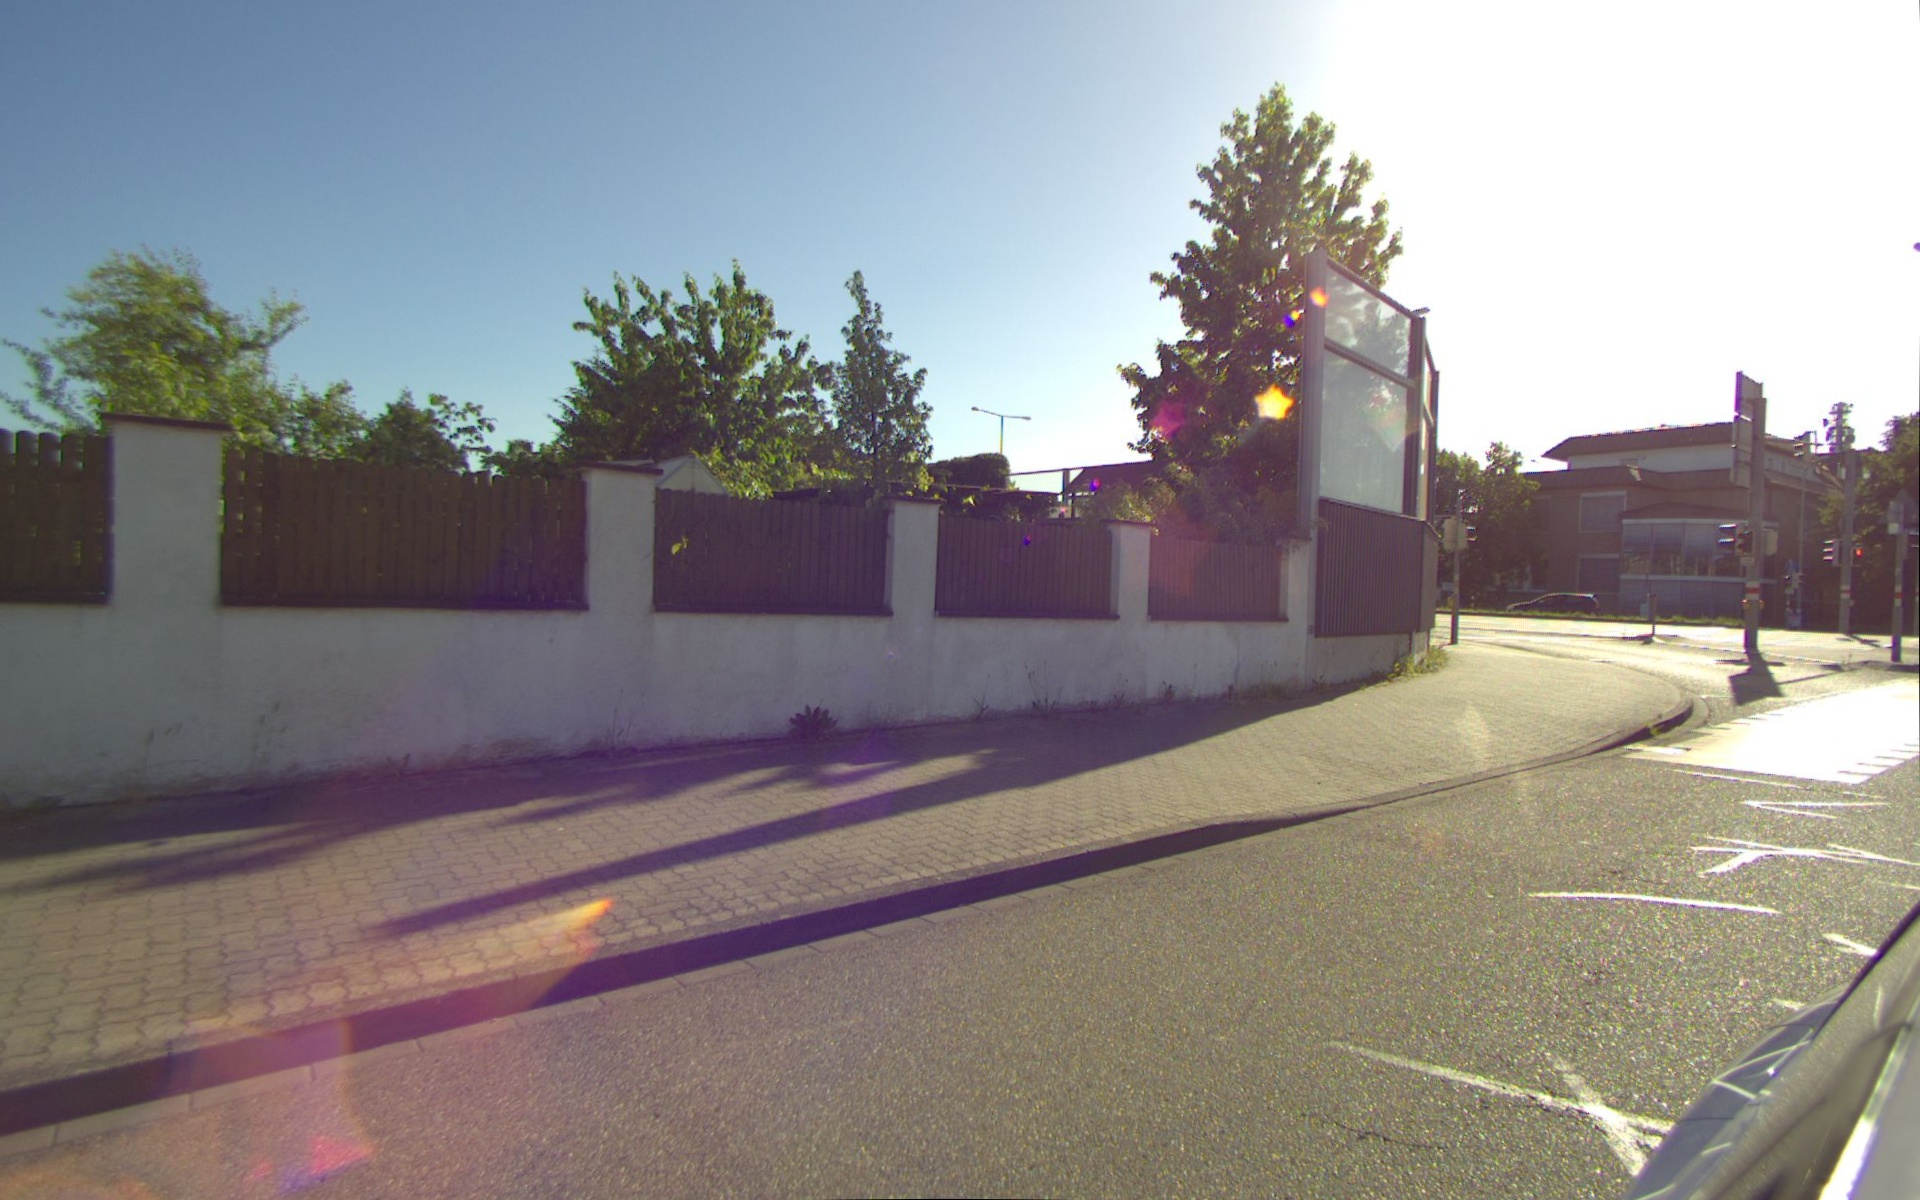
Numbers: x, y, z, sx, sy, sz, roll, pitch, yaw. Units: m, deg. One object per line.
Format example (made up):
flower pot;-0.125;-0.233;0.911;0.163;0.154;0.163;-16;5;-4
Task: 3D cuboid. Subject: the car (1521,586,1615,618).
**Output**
car;29.551;0.090;49.240;3.759;1.505;1.753;1;0;38
